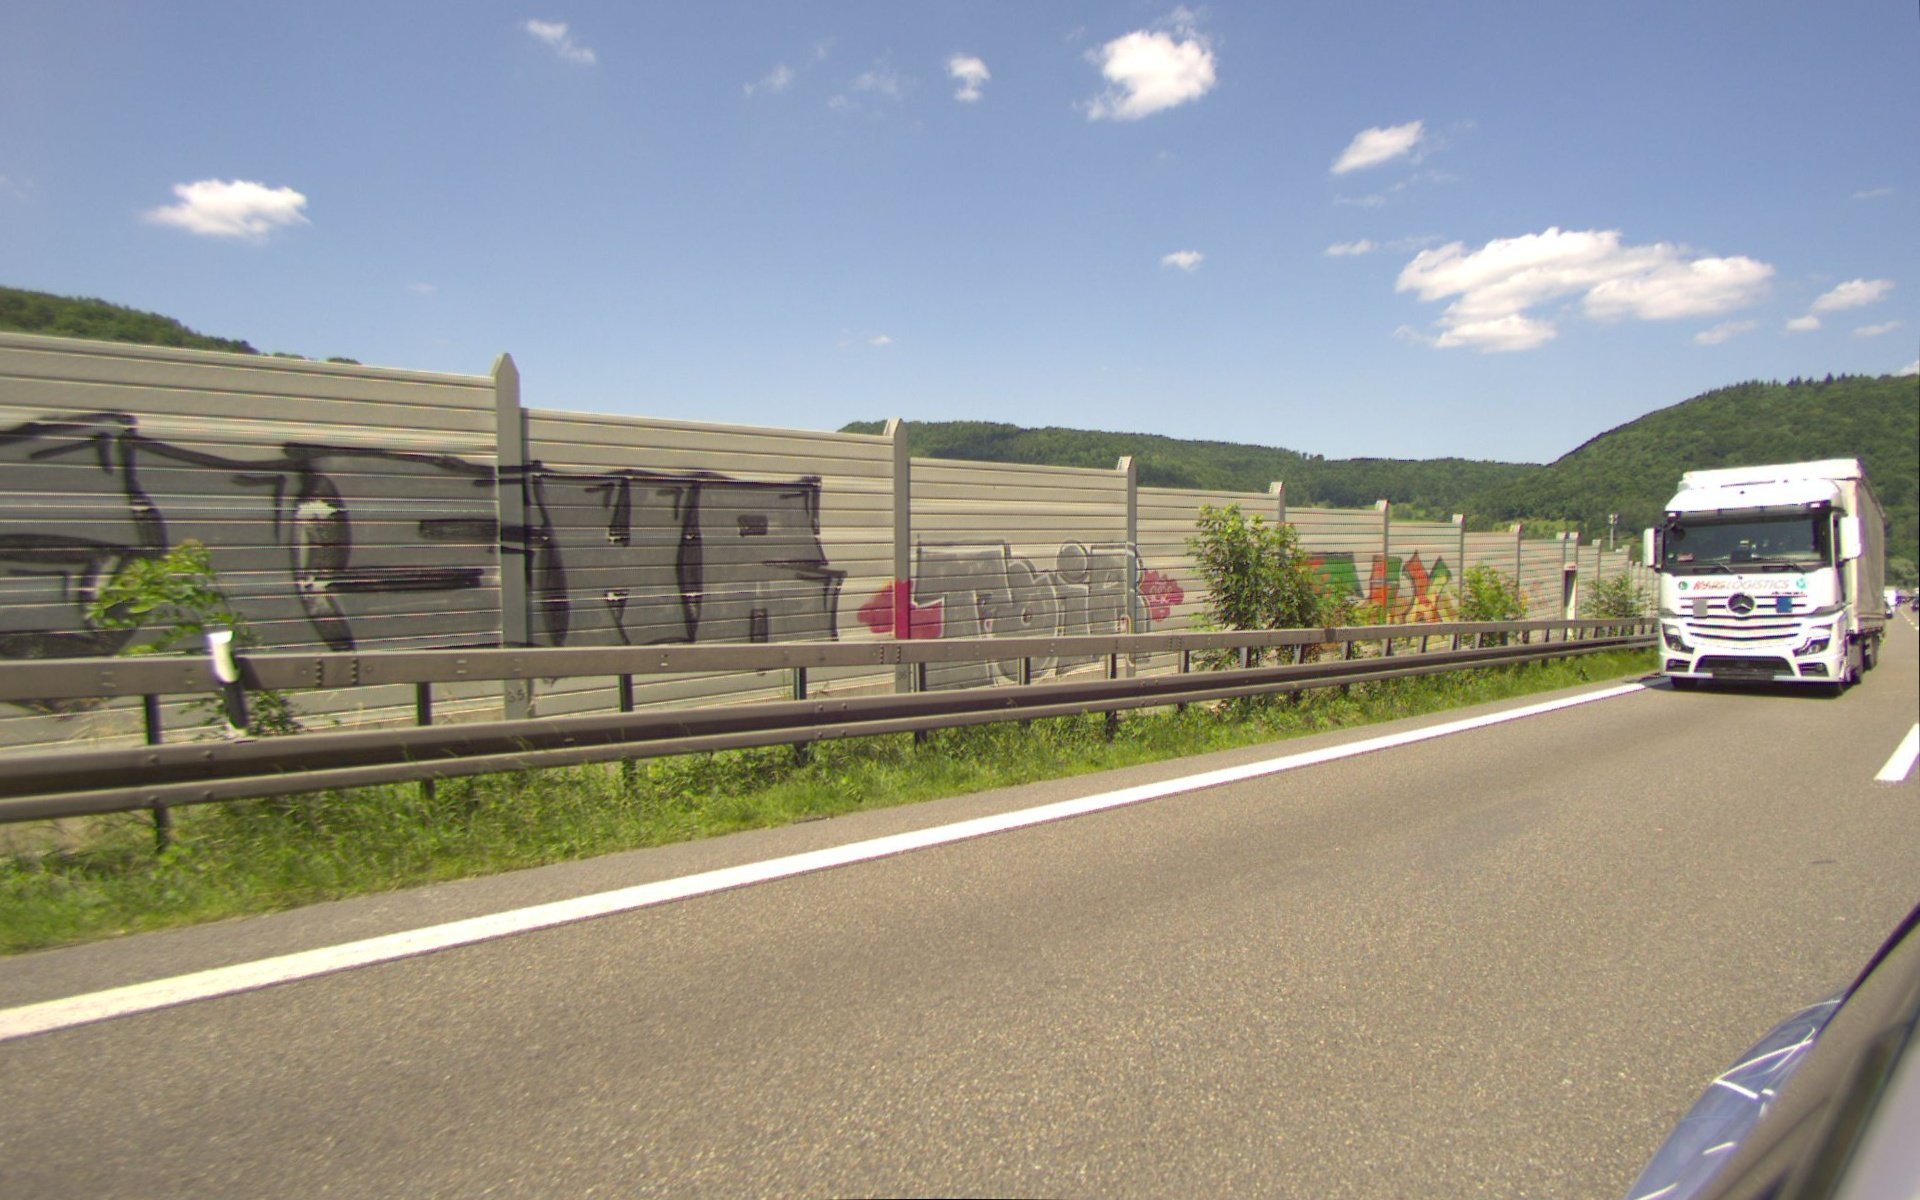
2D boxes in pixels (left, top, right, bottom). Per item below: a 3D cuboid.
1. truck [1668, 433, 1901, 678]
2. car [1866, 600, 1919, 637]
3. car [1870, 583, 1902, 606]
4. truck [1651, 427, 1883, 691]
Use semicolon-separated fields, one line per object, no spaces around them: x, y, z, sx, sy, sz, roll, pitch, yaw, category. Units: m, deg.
18.723;-0.776;22.542;2.855;4.200;11.851;0;0;45;truck
38.277;0.742;41.439;1.658;1.431;3.421;0;0;43;car
85.560;-0.464;93.470;1.995;1.927;3.936;5;3;44;car
15.366;-0.650;19.060;2.758;4.090;6.714;0;0;44;truck
